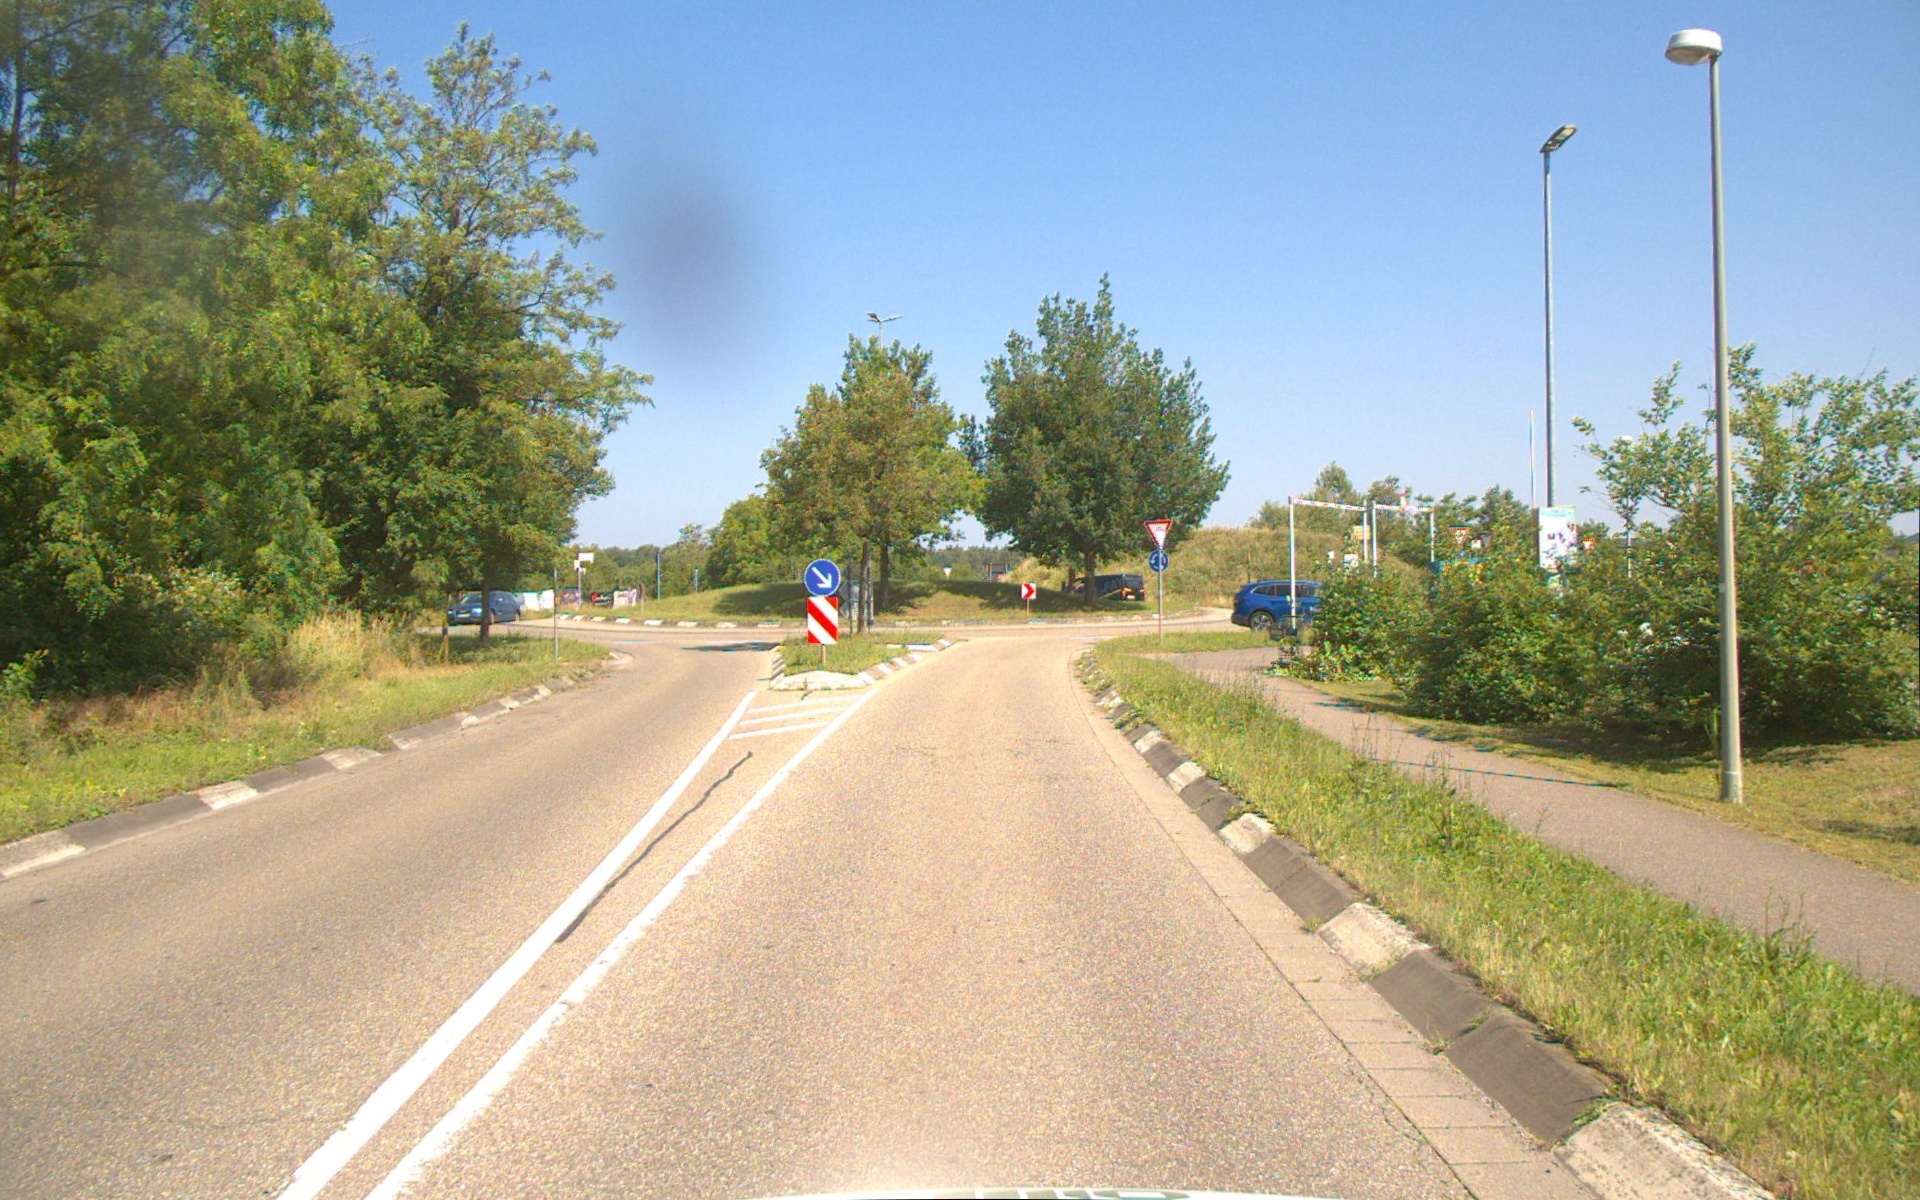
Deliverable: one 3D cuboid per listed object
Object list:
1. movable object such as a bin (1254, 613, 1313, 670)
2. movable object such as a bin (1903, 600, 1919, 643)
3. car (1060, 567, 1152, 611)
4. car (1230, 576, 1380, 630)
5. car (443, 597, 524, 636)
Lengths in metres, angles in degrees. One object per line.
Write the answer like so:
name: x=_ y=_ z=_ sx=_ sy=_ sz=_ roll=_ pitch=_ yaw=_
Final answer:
movable object such as a bin: x=6.814 y=0.851 z=34.811 sx=0.851 sy=1.140 sz=1.453 roll=0 pitch=1 yaw=27
movable object such as a bin: x=22.108 y=0.489 z=37.369 sx=0.861 sy=0.971 sz=1.202 roll=-1 pitch=1 yaw=-8
car: x=7.019 y=-0.539 z=79.669 sx=3.920 sy=2.049 sz=1.993 roll=-1 pitch=0 yaw=36
car: x=10.398 y=0.084 z=49.811 sx=4.319 sy=1.599 sz=1.717 roll=0 pitch=1 yaw=15
car: x=-19.276 y=0.638 z=67.068 sx=1.794 sy=1.411 sz=4.425 roll=-2 pitch=1 yaw=2
